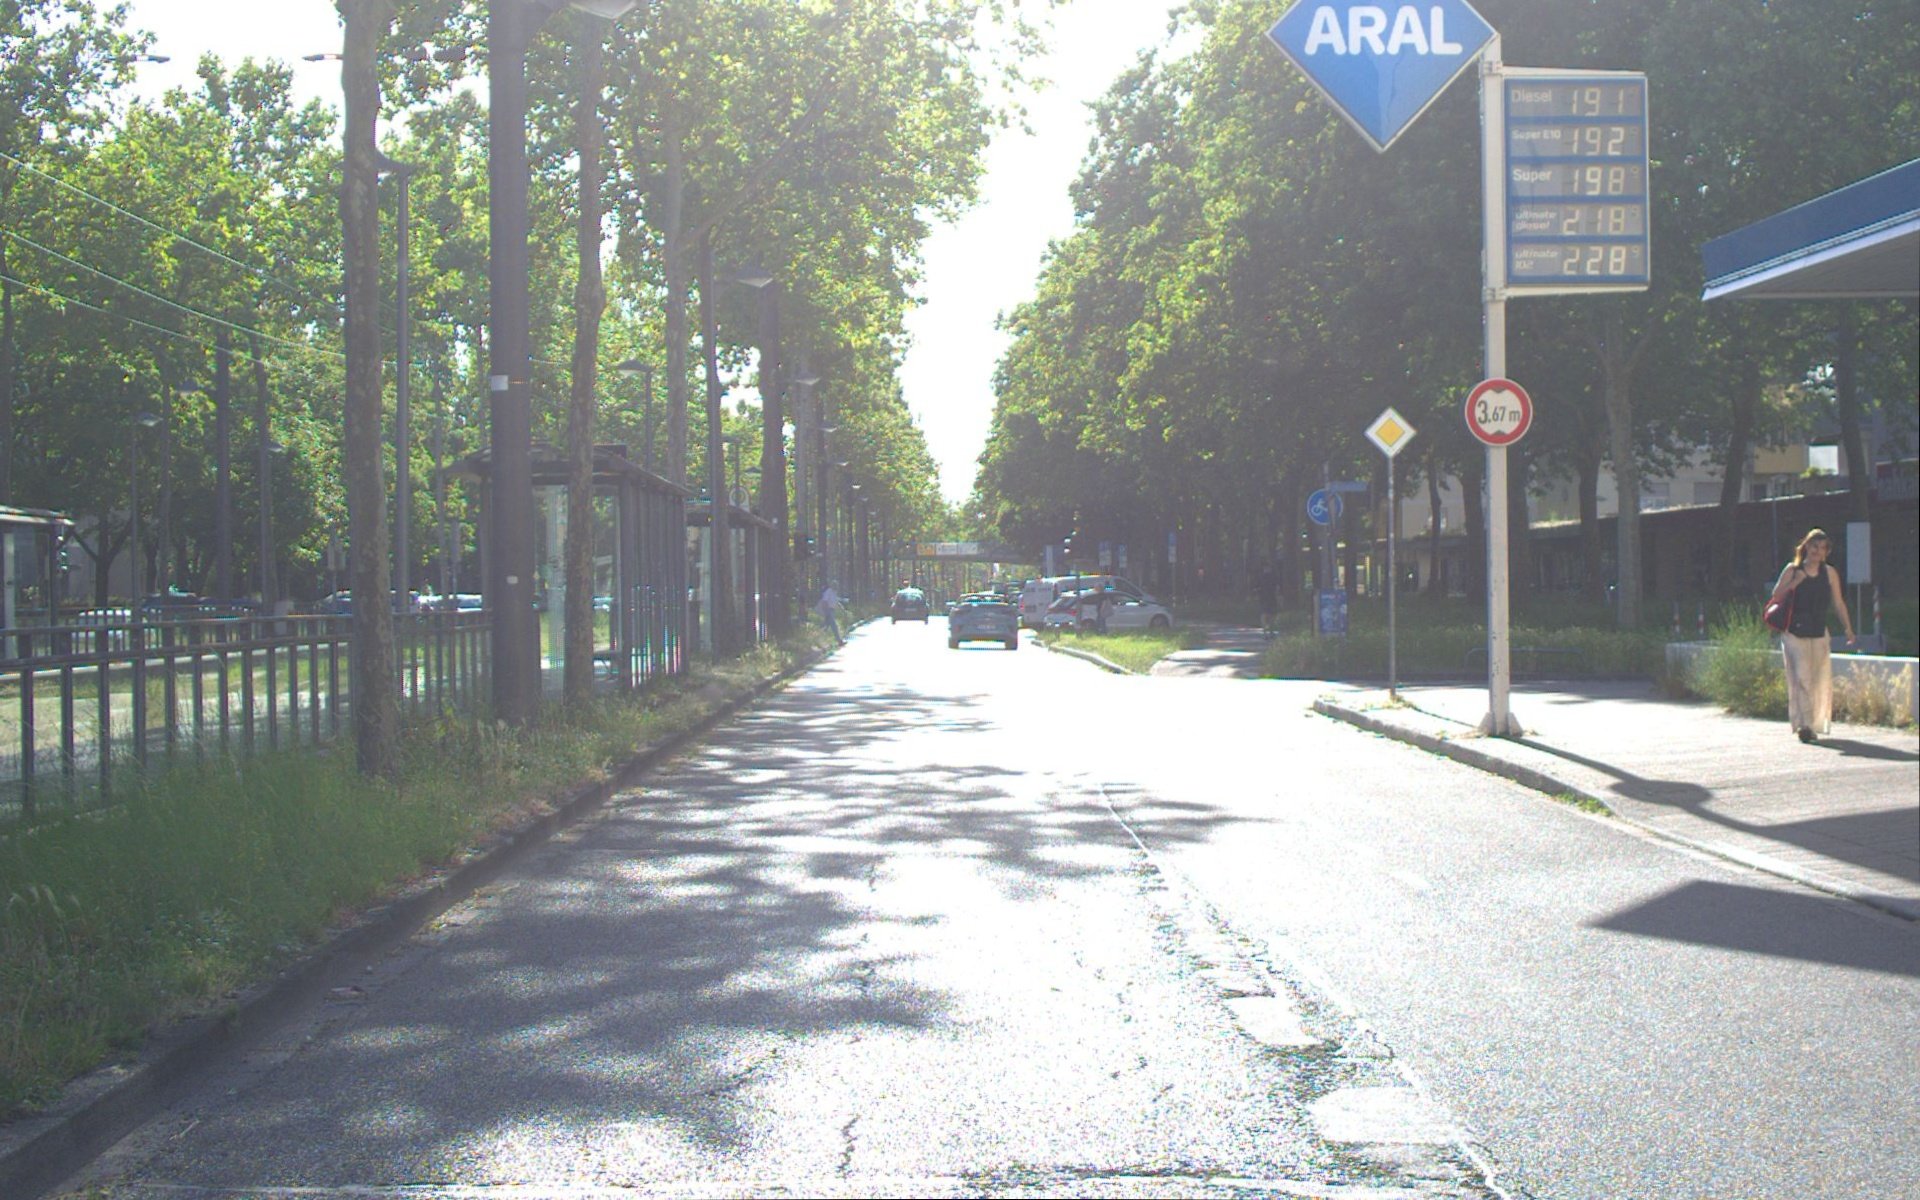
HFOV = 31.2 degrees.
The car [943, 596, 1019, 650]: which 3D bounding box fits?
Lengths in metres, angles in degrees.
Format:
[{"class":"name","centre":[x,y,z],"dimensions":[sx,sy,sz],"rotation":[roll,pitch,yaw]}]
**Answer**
[{"class":"car","centre":[0.544,0.596,91.711],"dimensions":[1.922,1.406,4.000],"rotation":[0,0,-1]}]

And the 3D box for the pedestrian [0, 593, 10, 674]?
[{"class":"pedestrian","centre":[-15.473,0.522,53.829],"dimensions":[0.838,1.256,0.798],"rotation":[0,0,28]}]

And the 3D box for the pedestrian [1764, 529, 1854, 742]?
[{"class":"pedestrian","centre":[6.852,0.284,27.765],"dimensions":[0.604,1.696,0.552],"rotation":[-1,0,4]}]

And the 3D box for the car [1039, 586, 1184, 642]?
[{"class":"car","centre":[4.582,0.419,103.798],"dimensions":[3.986,1.464,1.761],"rotation":[-4,1,-32]}]

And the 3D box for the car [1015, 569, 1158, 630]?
[{"class":"car","centre":[4.220,-0.028,114.116],"dimensions":[4.657,1.846,1.830],"rotation":[-2,0,-40]}]

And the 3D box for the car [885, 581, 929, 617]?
[{"class":"car","centre":[-2.343,-0.049,152.228],"dimensions":[1.849,1.530,3.866],"rotation":[-1,0,0]}]

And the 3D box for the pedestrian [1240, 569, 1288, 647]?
[{"class":"pedestrian","centre":[7.396,0.193,83.582],"dimensions":[0.925,1.878,0.800],"rotation":[-1,0,-14]}]

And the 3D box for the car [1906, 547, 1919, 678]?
[{"class":"car","centre":[11.777,0.136,36.934],"dimensions":[1.720,1.458,4.006],"rotation":[-1,0,-7]}]

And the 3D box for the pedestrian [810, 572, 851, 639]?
[{"class":"pedestrian","centre":[-3.393,0.135,89.854],"dimensions":[0.842,1.716,0.829],"rotation":[-1,0,15]}]

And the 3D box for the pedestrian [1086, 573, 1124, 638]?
[{"class":"pedestrian","centre":[3.881,0.159,92.176],"dimensions":[0.710,1.700,0.654],"rotation":[-2,0,-35]}]
